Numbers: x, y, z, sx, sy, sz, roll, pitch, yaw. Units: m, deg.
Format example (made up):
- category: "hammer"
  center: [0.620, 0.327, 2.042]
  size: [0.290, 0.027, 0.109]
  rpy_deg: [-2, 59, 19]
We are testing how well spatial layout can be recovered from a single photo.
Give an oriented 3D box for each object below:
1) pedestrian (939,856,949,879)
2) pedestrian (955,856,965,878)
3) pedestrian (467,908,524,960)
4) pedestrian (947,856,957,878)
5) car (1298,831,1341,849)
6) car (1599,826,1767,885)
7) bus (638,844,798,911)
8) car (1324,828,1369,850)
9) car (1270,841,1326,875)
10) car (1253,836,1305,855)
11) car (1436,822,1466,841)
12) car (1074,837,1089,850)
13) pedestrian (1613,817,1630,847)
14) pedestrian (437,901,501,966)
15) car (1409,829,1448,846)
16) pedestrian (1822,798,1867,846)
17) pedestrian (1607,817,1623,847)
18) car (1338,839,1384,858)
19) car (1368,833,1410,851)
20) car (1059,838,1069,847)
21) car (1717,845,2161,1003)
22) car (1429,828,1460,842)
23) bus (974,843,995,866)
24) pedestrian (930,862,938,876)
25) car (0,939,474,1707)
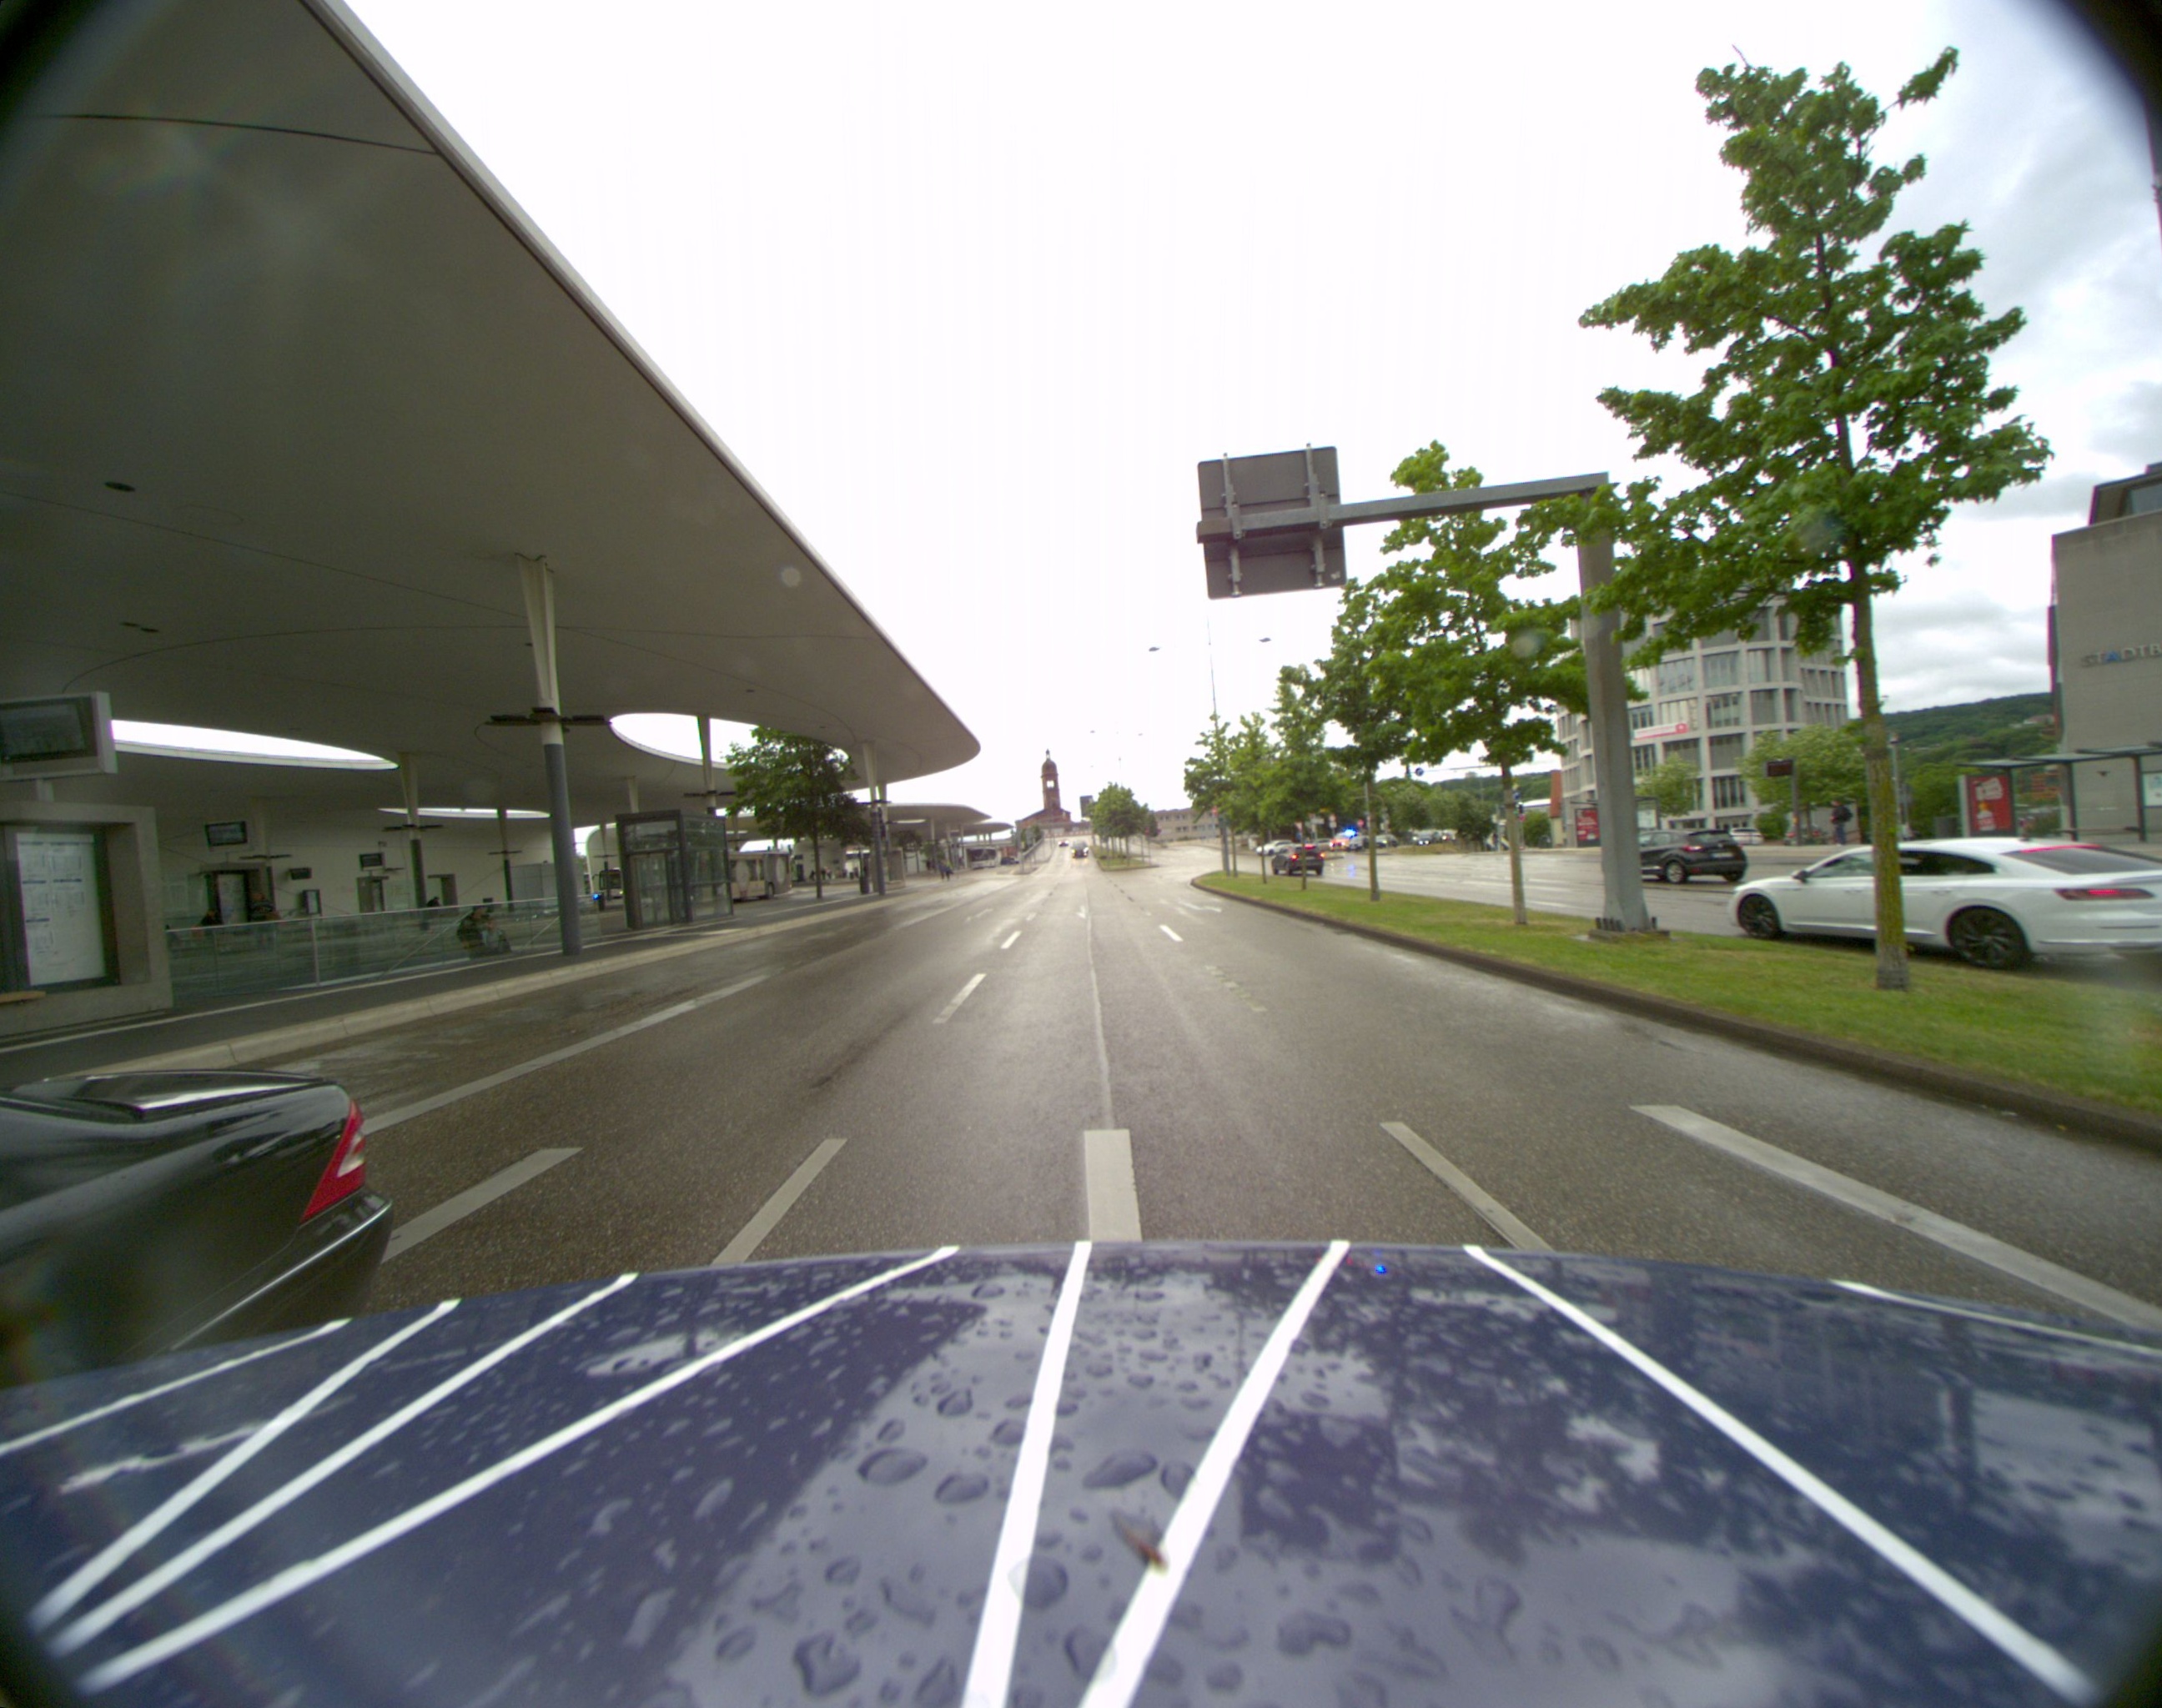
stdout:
- category: "pedestrian"
  center: [-10.293, 1.009, 57.006]
  size: [0.576, 1.614, 0.588]
  rpy_deg: [-3, 1, 1]
- category: "pedestrian"
  center: [-9.067, 0.972, 57.103]
  size: [0.557, 1.614, 0.552]
  rpy_deg: [-3, 1, 1]
- category: "pedestrian"
  center: [-11.995, 1.632, 15.589]
  size: [0.622, 0.957, 0.638]
  rpy_deg: [-3, 1, 1]
- category: "pedestrian"
  center: [-9.670, 0.999, 57.037]
  size: [0.557, 1.614, 0.552]
  rpy_deg: [-3, 1, 1]
- category: "car"
  center: [25.808, -1.530, 82.240]
  size: [4.004, 1.783, 1.996]
  rpy_deg: [-3, 1, -24]
- category: "car"
  center: [17.575, 0.025, 22.467]
  size: [1.775, 1.522, 4.078]
  rpy_deg: [-3, 0, 2]
- category: "bus"
  center: [-19.776, 1.099, 42.790]
  size: [3.003, 3.088, 12.353]
  rpy_deg: [-3, 0, 0]
- category: "car"
  center: [27.845, -1.569, 79.678]
  size: [5.043, 2.002, 2.304]
  rpy_deg: [-3, 1, -43]
- category: "car"
  center: [11.626, 0.172, 40.975]
  size: [1.826, 1.630, 4.600]
  rpy_deg: [-3, 0, 3]
- category: "car"
  center: [20.772, -0.930, 79.679]
  size: [4.921, 1.702, 2.192]
  rpy_deg: [-3, 1, -21]
- category: "car"
  center: [44.660, -2.728, 91.725]
  size: [1.995, 2.002, 4.007]
  rpy_deg: [-3, 0, 44]
- category: "car"
  center: [0.082, -1.369, 101.404]
  size: [1.704, 1.656, 3.998]
  rpy_deg: [-3, 1, -2]
- category: "pedestrian"
  center: [30.057, -1.240, 42.244]
  size: [0.520, 1.625, 0.536]
  rpy_deg: [-2, 1, 1]
- category: "pedestrian"
  center: [-12.629, 1.635, 15.701]
  size: [0.693, 1.244, 0.669]
  rpy_deg: [-3, 1, 1]
- category: "car"
  center: [38.619, -1.812, 84.391]
  size: [4.925, 1.702, 2.190]
  rpy_deg: [-3, 1, -43]
- category: "pedestrian"
  center: [29.099, -1.199, 28.957]
  size: [0.787, 1.750, 0.972]
  rpy_deg: [-3, 1, -28]
- category: "pedestrian"
  center: [29.508, -1.213, 42.010]
  size: [0.504, 1.625, 0.502]
  rpy_deg: [-2, 1, 1]
- category: "car"
  center: [27.818, -0.566, 75.372]
  size: [4.925, 1.702, 2.190]
  rpy_deg: [-3, 1, -43]
- category: "car"
  center: [32.764, -1.292, 80.881]
  size: [4.925, 1.702, 2.190]
  rpy_deg: [-3, 1, -43]
- category: "car"
  center: [-3.235, -2.114, 141.005]
  size: [1.704, 1.656, 3.998]
  rpy_deg: [-3, 1, -2]
- category: "car"
  center: [10.737, 0.620, 9.397]
  size: [1.728, 1.373, 4.859]
  rpy_deg: [-3, 0, 2]
- category: "car"
  center: [47.927, -2.533, 100.127]
  size: [4.925, 1.702, 2.190]
  rpy_deg: [-3, 1, -45]
- category: "bus"
  center: [-14.297, 0.070, 113.265]
  size: [2.675, 3.111, 9.712]
  rpy_deg: [-3, 0, -5]
- category: "pedestrian"
  center: [-17.739, 1.857, 91.475]
  size: [0.723, 1.621, 0.753]
  rpy_deg: [-3, 1, 0]
- category: "car"
  center: [-2.841, 1.175, 0.113]
  size: [1.750, 1.472, 4.433]
  rpy_deg: [-8, 2, 0]
